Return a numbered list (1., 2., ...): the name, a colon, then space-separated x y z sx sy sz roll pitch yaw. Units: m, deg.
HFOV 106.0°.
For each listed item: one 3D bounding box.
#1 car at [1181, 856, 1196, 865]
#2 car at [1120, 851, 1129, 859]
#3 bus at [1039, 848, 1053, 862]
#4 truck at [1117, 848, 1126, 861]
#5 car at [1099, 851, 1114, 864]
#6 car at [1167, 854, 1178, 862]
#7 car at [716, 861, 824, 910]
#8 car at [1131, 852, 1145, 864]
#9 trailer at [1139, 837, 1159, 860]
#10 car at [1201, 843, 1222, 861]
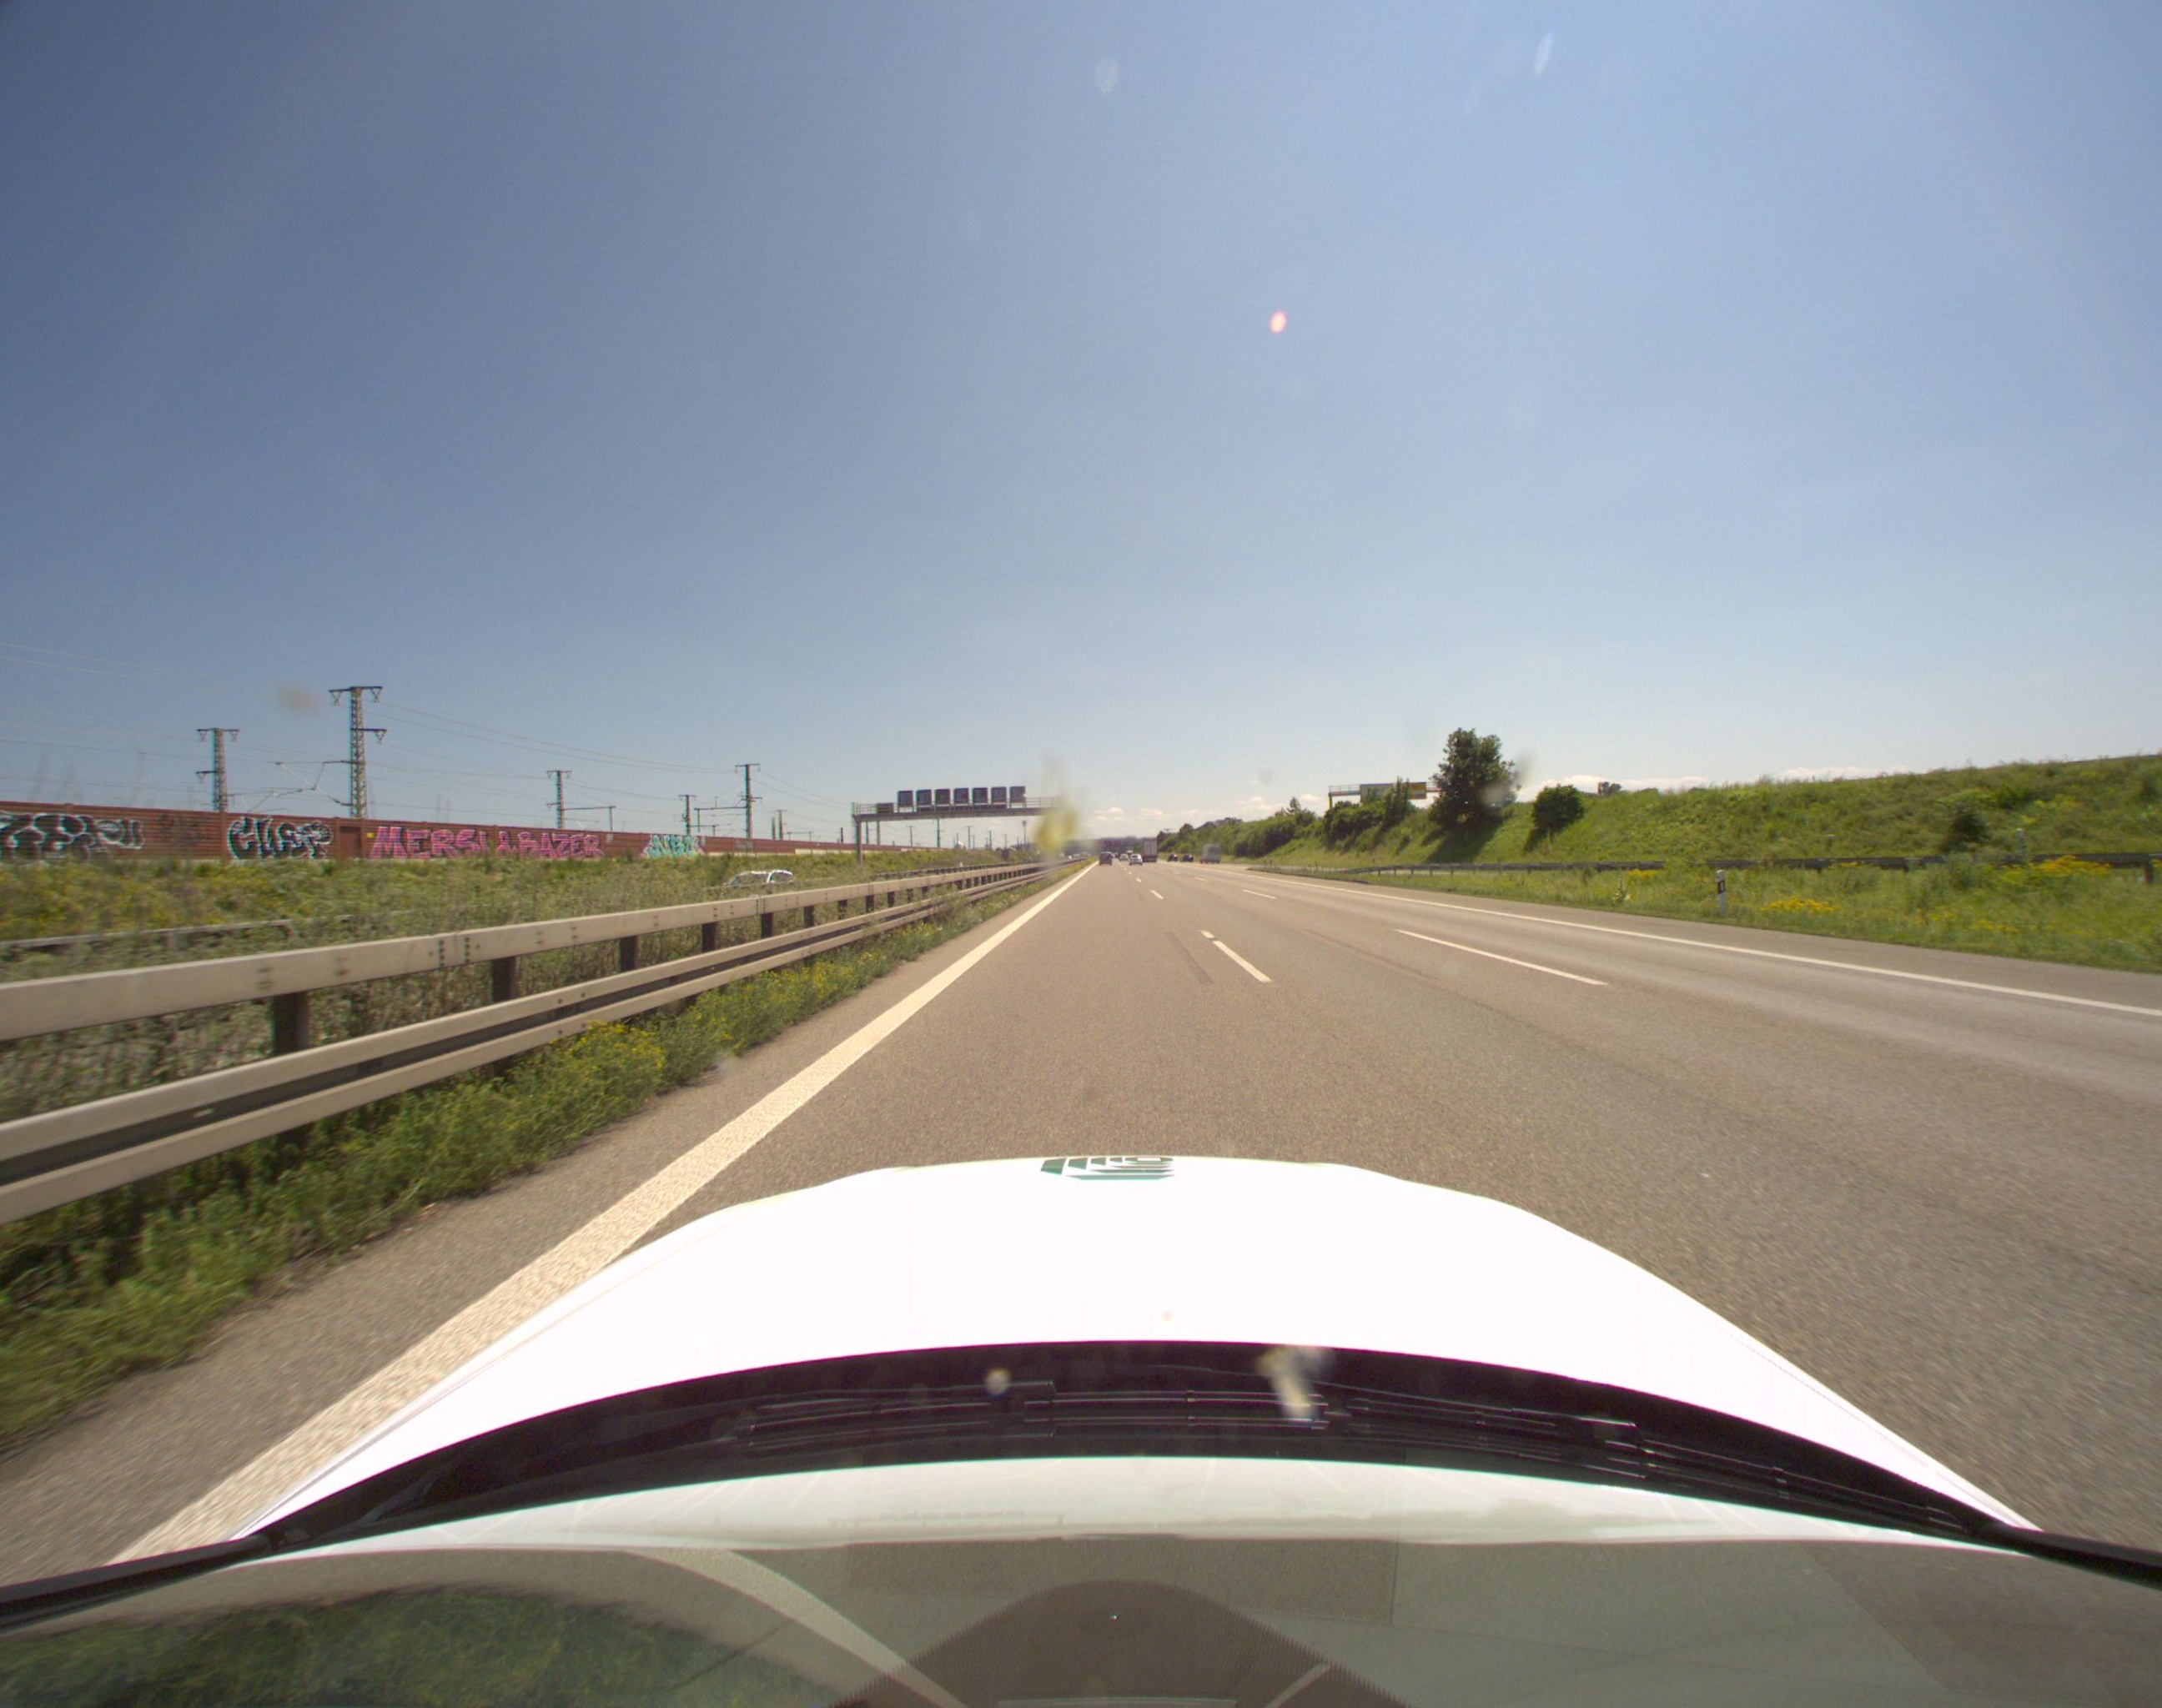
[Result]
1. car: 18.406 1.106 139.179 1.987 1.508 3.998 0 -1 -1
2. car: 9.625 0.245 178.764 1.873 1.526 4.003 -1 -1 3
3. bus: -9.296 0.192 214.664 2.846 3.645 10.945 0 0 2
4. truck: 11.059 0.170 221.079 2.346 3.416 6.060 -1 0 2
5. car: 3.568 0.518 113.441 1.873 1.775 4.002 -2 -1 2
6. car: 17.896 0.796 159.409 1.986 1.596 4.001 0 -1 1
7. car: -11.240 1.081 29.815 1.905 1.544 4.812 -1 0 2
8. car: 7.822 0.590 111.528 1.872 1.526 4.005 -1 -1 5
9. trailer: 12.322 -0.981 148.059 3.165 4.059 9.444 -2 0 2
10. car: 19.306 -0.290 120.318 2.266 2.528 5.400 -1 0 1
